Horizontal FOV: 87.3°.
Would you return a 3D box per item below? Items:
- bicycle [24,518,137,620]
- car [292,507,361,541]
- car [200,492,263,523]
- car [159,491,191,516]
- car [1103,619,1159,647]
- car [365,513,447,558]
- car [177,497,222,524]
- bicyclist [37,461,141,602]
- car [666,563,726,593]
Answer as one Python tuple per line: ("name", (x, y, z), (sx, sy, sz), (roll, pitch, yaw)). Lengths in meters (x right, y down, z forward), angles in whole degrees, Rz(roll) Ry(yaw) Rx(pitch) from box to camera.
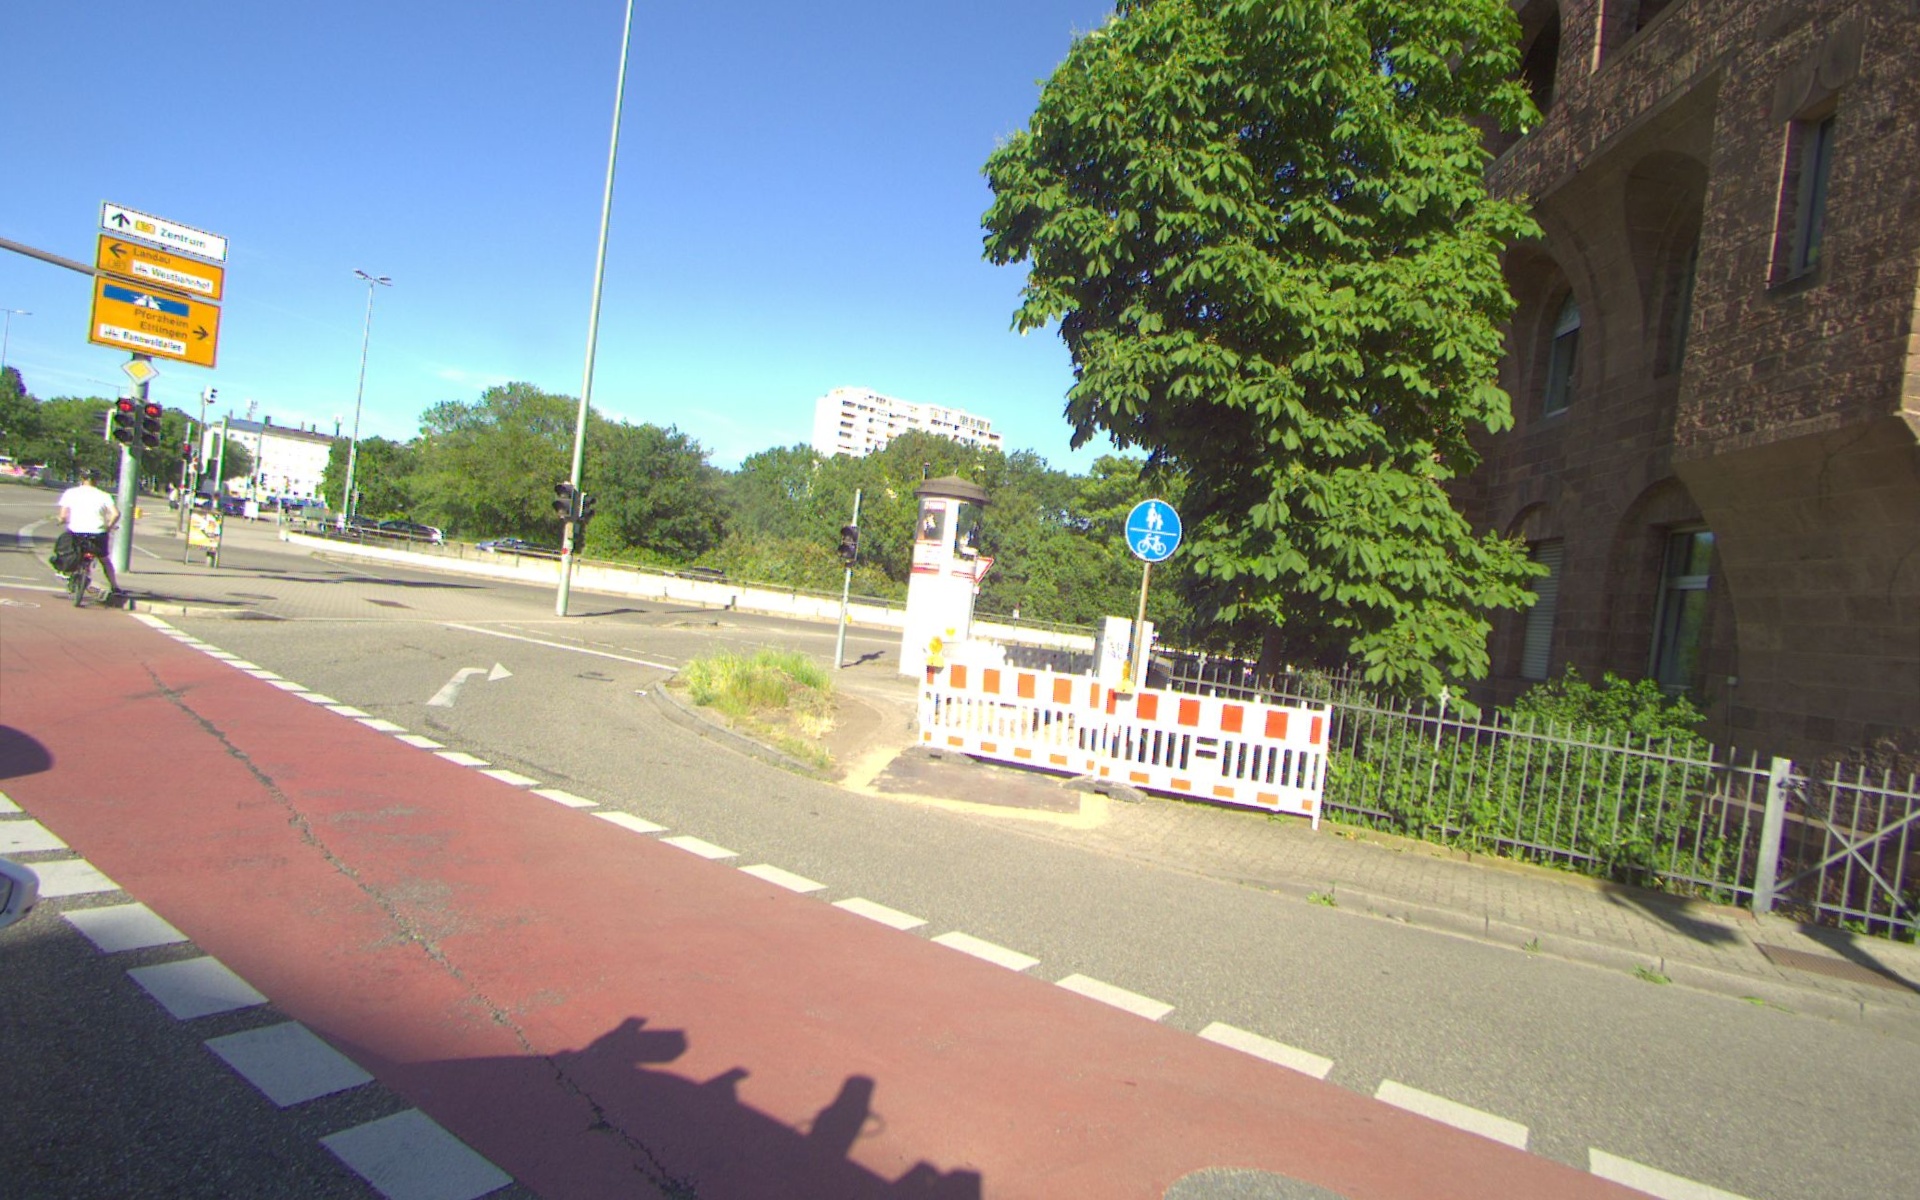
("bicycle", (-11.760, -0.458, 13.532), (0.795, 1.124, 2.378), (8, 0, -36))
("car", (-43.371, -5.208, 68.870), (3.927, 1.683, 1.998), (9, 2, 23))
("car", (-53.323, -6.762, 73.641), (4.808, 1.876, 2.015), (5, -2, 33))
("car", (-70.036, -8.588, 89.777), (1.983, 1.770, 3.961), (7, -2, -37))
("car", (13.580, 2.641, 79.878), (3.946, 1.638, 1.719), (8, 1, -22))
("car", (-33.557, -3.884, 61.065), (3.943, 2.037, 1.992), (7, -2, -20))
("car", (-59.833, -7.023, 79.115), (3.946, 1.770, 1.991), (4, -2, 42))
("bicyclist", (-11.753, -0.919, 13.608), (0.795, 1.726, 1.074), (8, 1, -36))
("car", (-19.291, -1.598, 73.409), (3.944, 1.638, 1.719), (8, 1, -20))
